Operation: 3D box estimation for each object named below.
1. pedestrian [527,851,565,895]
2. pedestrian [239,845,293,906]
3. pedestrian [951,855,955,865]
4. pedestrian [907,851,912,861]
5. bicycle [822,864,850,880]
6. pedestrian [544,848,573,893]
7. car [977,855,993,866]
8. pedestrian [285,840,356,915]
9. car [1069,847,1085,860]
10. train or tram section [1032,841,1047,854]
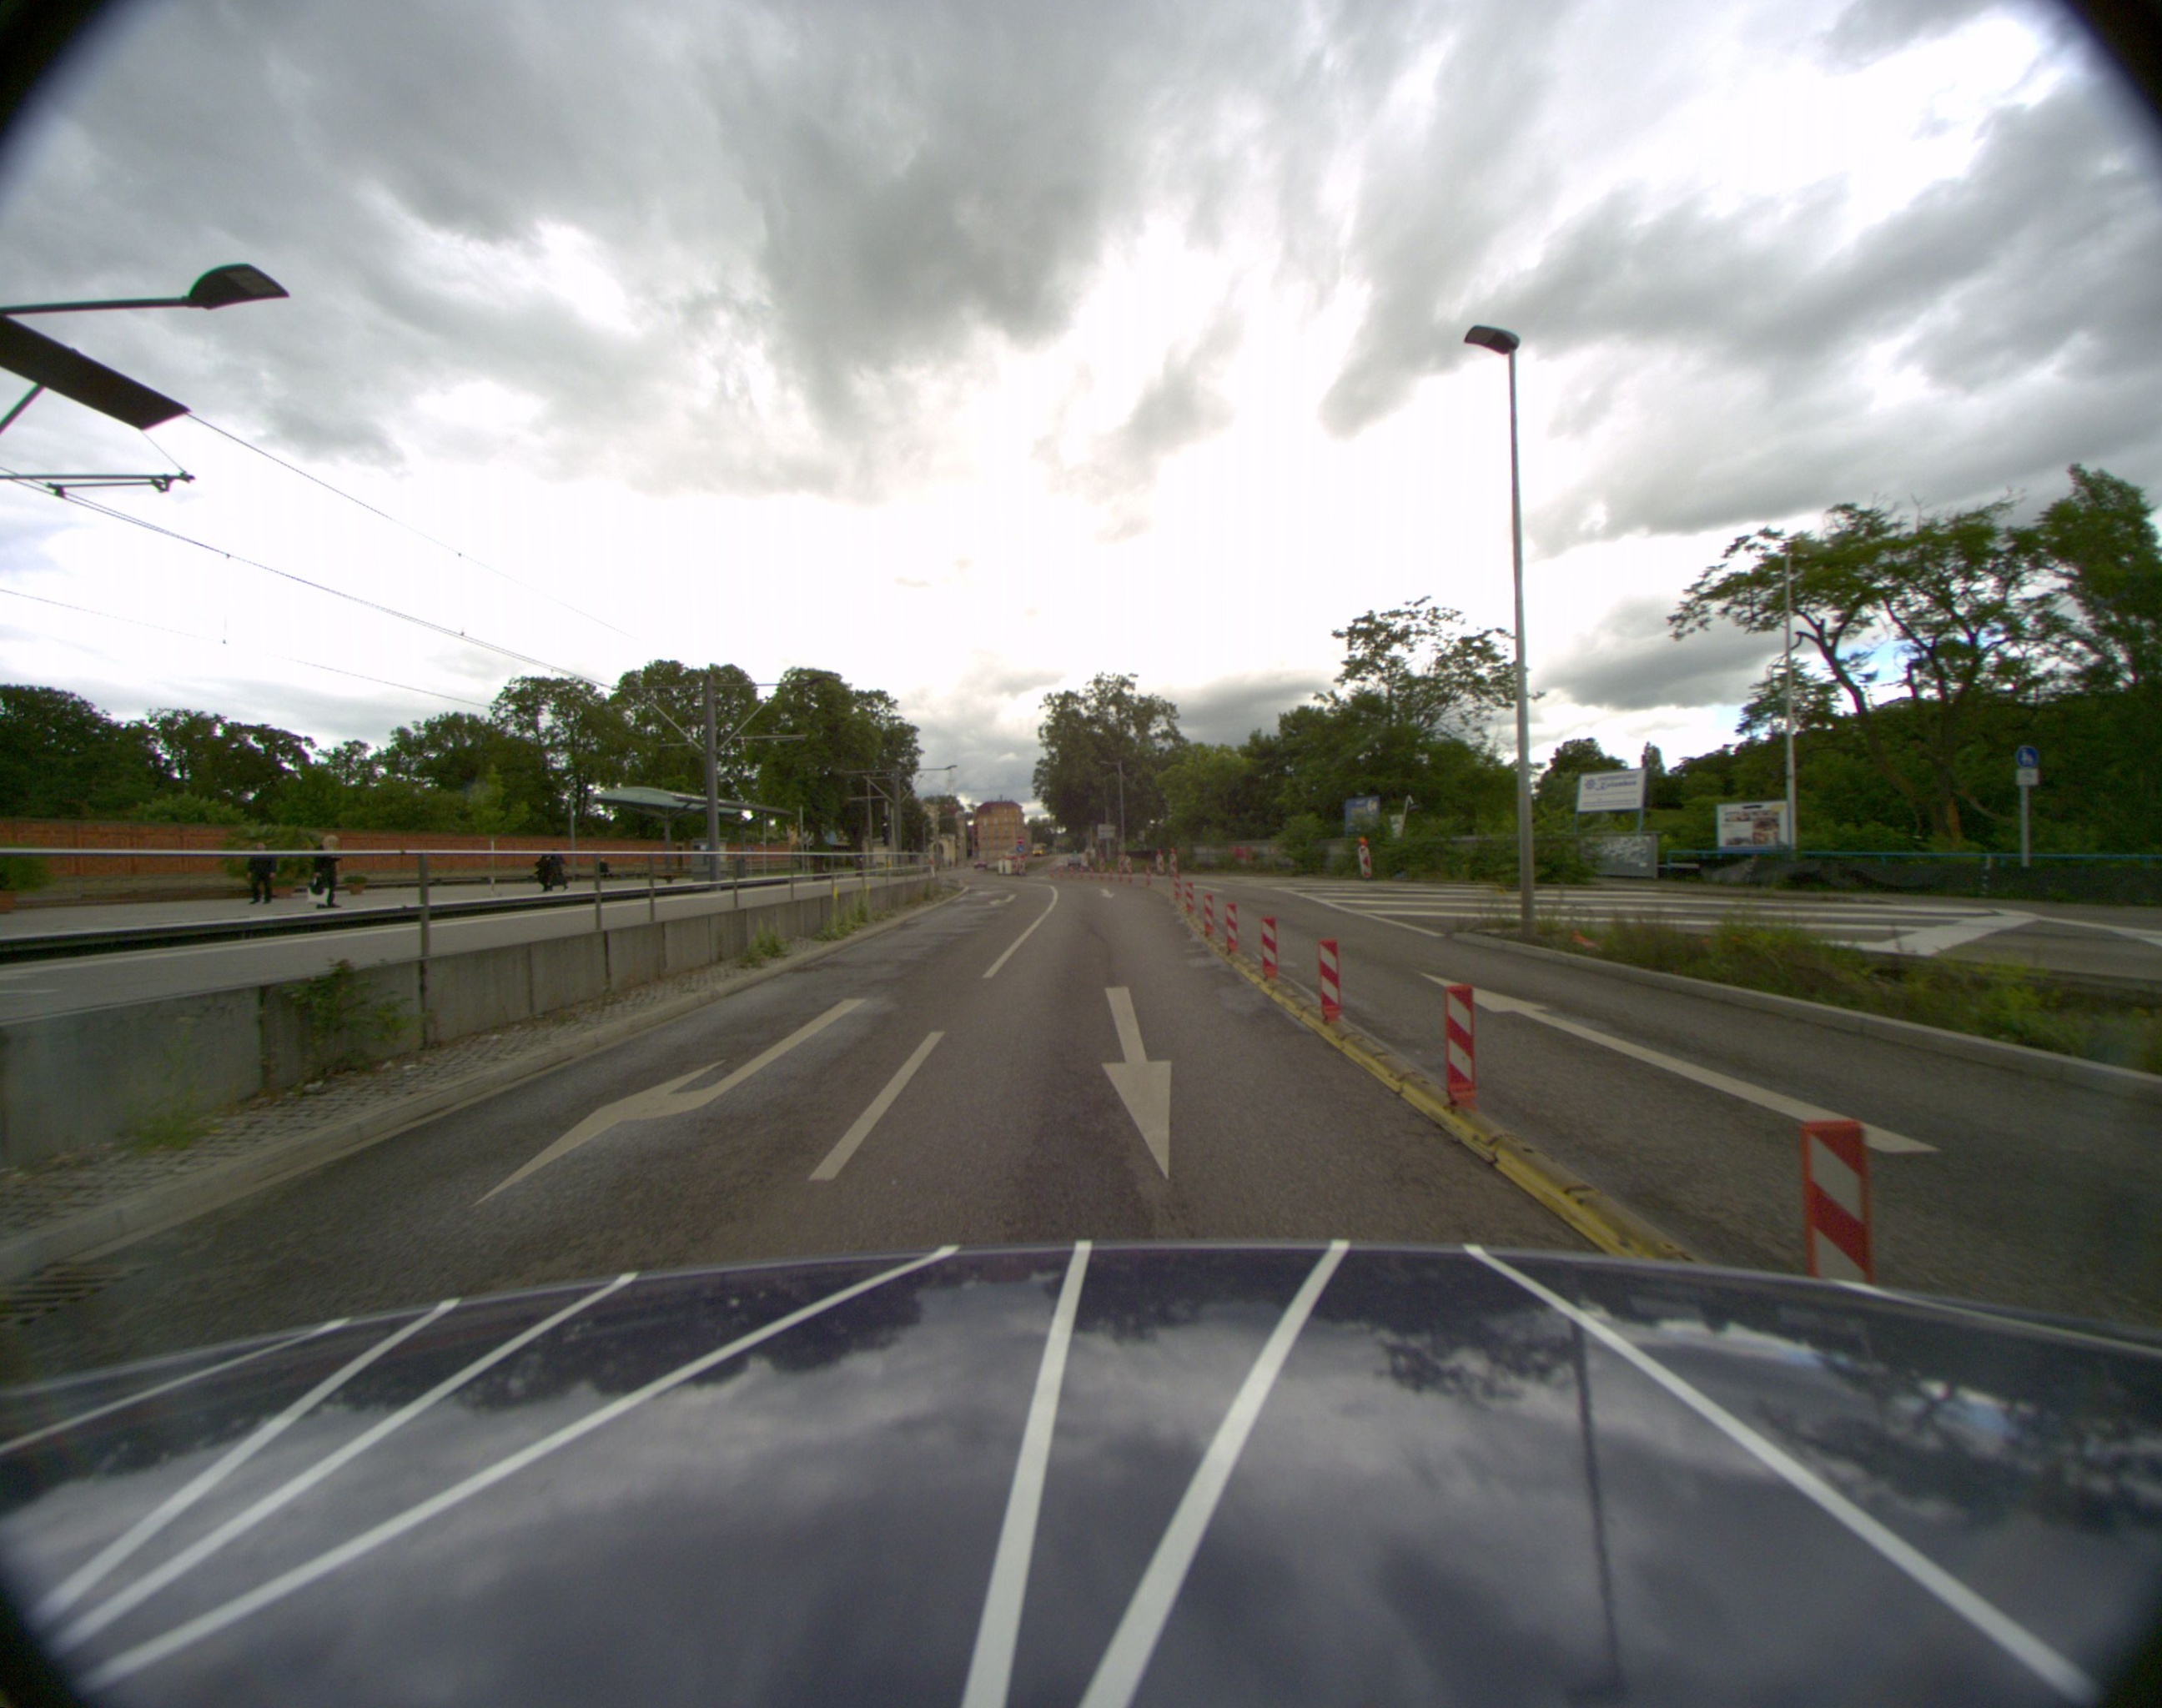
[{"bbox_3d":[-20.489,0.723,29.129,0.741,1.591,0.772,-4,1,9],"label":"pedestrian"},{"bbox_3d":[-25.319,0.657,23.621,0.549,1.827,0.951,-4,1,-6],"label":"pedestrian"},{"bbox_3d":[-23.662,1.069,140.366,0.672,1.758,0.936,-2,1,-1],"label":"pedestrian"},{"bbox_3d":[-32.280,0.399,143.112,0.596,1.782,0.808,-2,1,-1],"label":"pedestrian"},{"bbox_3d":[-19.568,1.434,60.729,1.995,1.151,0.741,-2,1,4],"label":"bicycle"},{"bbox_3d":[-19.740,0.611,28.716,0.487,1.651,0.628,-4,1,9],"label":"pedestrian"},{"bbox_3d":[-13.668,0.860,108.260,1.681,1.433,4.119,-4,0,-1],"label":"car"},{"bbox_3d":[-17.734,0.531,17.740,0.634,1.678,0.866,-4,1,0],"label":"pedestrian"},{"bbox_3d":[-0.568,-0.073,109.097,1.869,1.772,4.746,-3,1,-4],"label":"car"},{"bbox_3d":[-11.660,-1.993,215.726,3.739,3.346,17.550,-1,1,-1],"label":"train or tram section"}]
